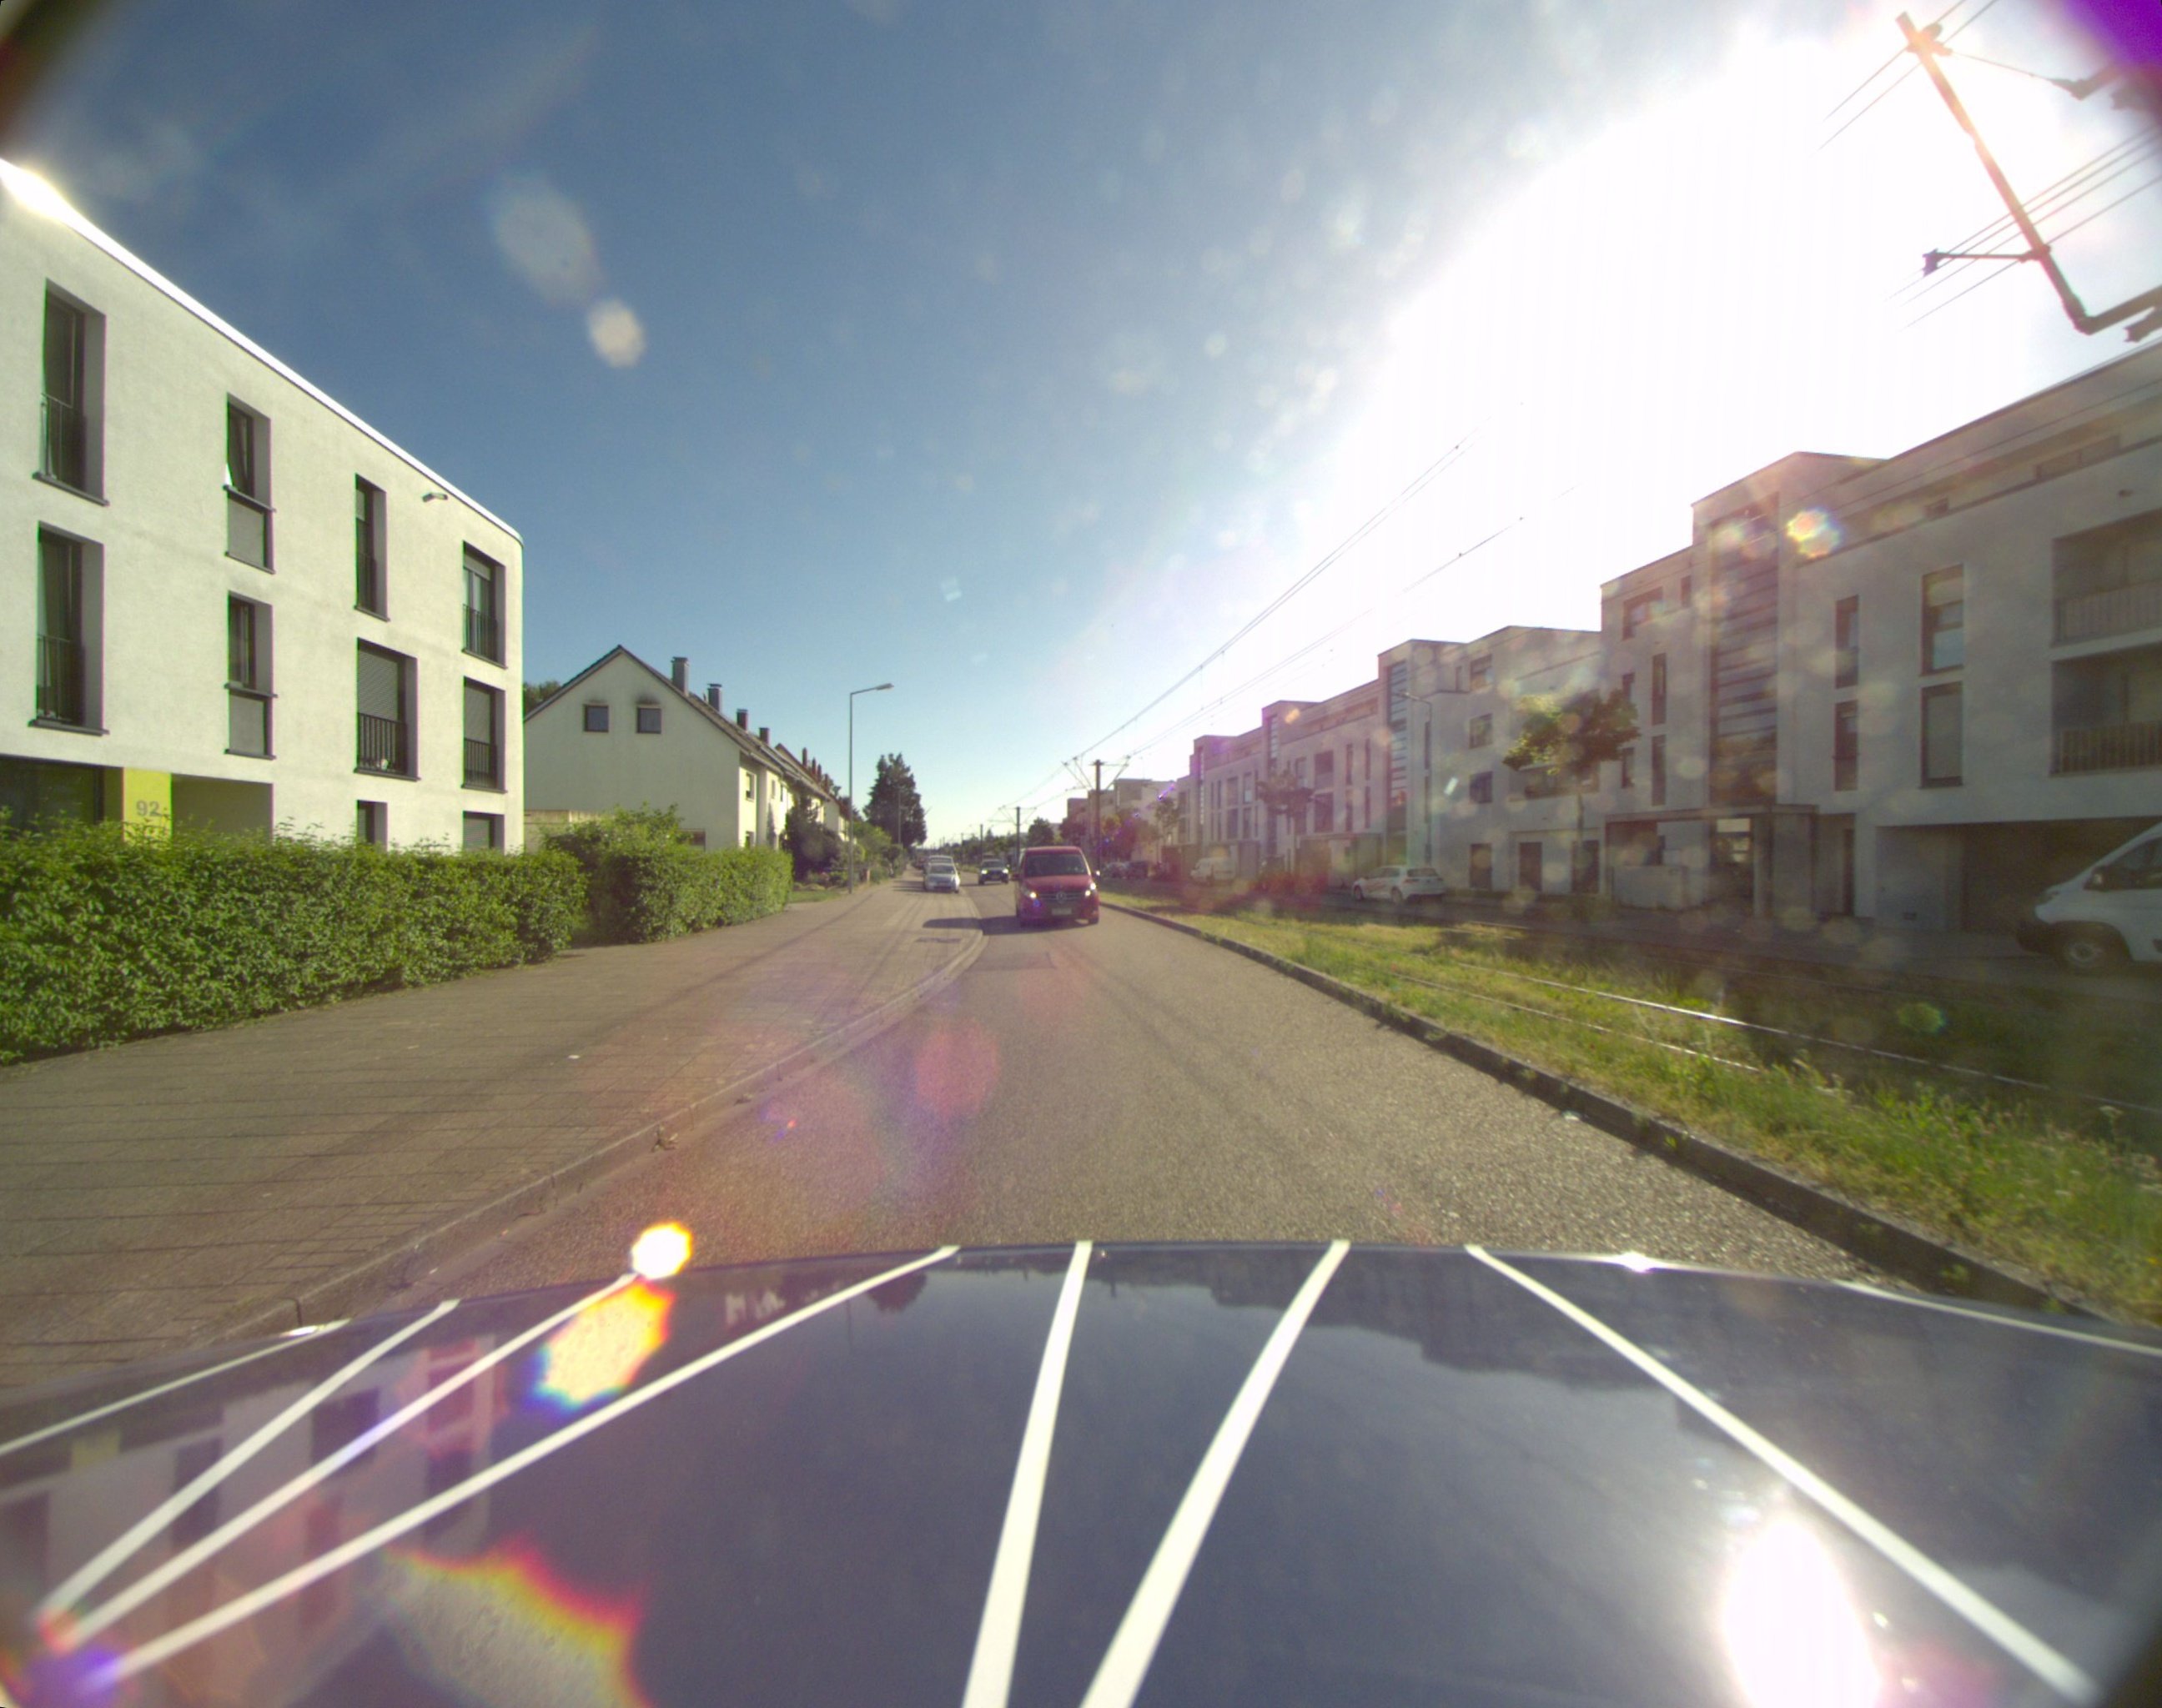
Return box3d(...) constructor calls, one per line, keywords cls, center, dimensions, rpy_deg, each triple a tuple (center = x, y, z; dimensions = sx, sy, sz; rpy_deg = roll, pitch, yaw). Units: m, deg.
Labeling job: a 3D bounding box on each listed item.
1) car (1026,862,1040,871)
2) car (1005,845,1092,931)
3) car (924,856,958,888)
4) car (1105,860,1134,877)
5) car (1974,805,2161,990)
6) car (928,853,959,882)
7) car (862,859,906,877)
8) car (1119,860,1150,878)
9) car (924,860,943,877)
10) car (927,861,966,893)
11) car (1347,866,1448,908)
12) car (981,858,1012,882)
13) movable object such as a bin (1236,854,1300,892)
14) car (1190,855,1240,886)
box3d(cls="car", center=(-8.142, 2.105, 128.931), dimensions=(1.767, 1.590, 4.153), rpy_deg=(-1, 0, -11))
box3d(cls="car", center=(-0.852, 0.808, 20.369), dimensions=(1.980, 1.922, 5.204), rpy_deg=(-2, 0, -2))
box3d(cls="car", center=(-8.018, 0.999, 43.918), dimensions=(1.701, 1.692, 4.011), rpy_deg=(2, -1, -8))
box3d(cls="car", center=(3.724, 1.382, 74.379), dimensions=(1.767, 1.590, 4.153), rpy_deg=(-1, 0, -11))
box3d(cls="car", center=(15.330, 0.538, 9.163), dimensions=(2.147, 2.430, 5.585), rpy_deg=(-1, 0, -9))
box3d(cls="car", center=(-9.589, 0.935, 53.197), dimensions=(1.894, 1.951, 4.011), rpy_deg=(2, -1, -8))
box3d(cls="car", center=(-19.697, 1.347, 76.048), dimensions=(3.999, 1.674, 1.999), rpy_deg=(-1, 0, -5))
box3d(cls="car", center=(4.838, 1.338, 68.846), dimensions=(1.767, 1.590, 4.153), rpy_deg=(-1, 0, -11))
box3d(cls="car", center=(-15.076, 1.481, 77.787), dimensions=(1.701, 1.604, 4.011), rpy_deg=(2, -1, -8))
box3d(cls="car", center=(-6.739, 1.119, 38.353), dimensions=(1.701, 1.466, 4.011), rpy_deg=(2, -1, -8))
box3d(cls="car", center=(12.123, 1.212, 29.430), dimensions=(1.522, 1.423, 4.153), rpy_deg=(-1, 0, -11))
box3d(cls="car", center=(-5.678, 1.037, 50.913), dimensions=(1.894, 1.505, 3.751), rpy_deg=(2, -1, -8))
box3d(cls="movable object such as a bin", center=(10.141, 1.013, 41.548), dimensions=(1.767, 1.926, 4.153), rpy_deg=(-1, 0, -11))
box3d(cls="car", center=(8.650, 1.047, 49.497), dimensions=(1.767, 1.859, 4.153), rpy_deg=(-1, 0, -11))
